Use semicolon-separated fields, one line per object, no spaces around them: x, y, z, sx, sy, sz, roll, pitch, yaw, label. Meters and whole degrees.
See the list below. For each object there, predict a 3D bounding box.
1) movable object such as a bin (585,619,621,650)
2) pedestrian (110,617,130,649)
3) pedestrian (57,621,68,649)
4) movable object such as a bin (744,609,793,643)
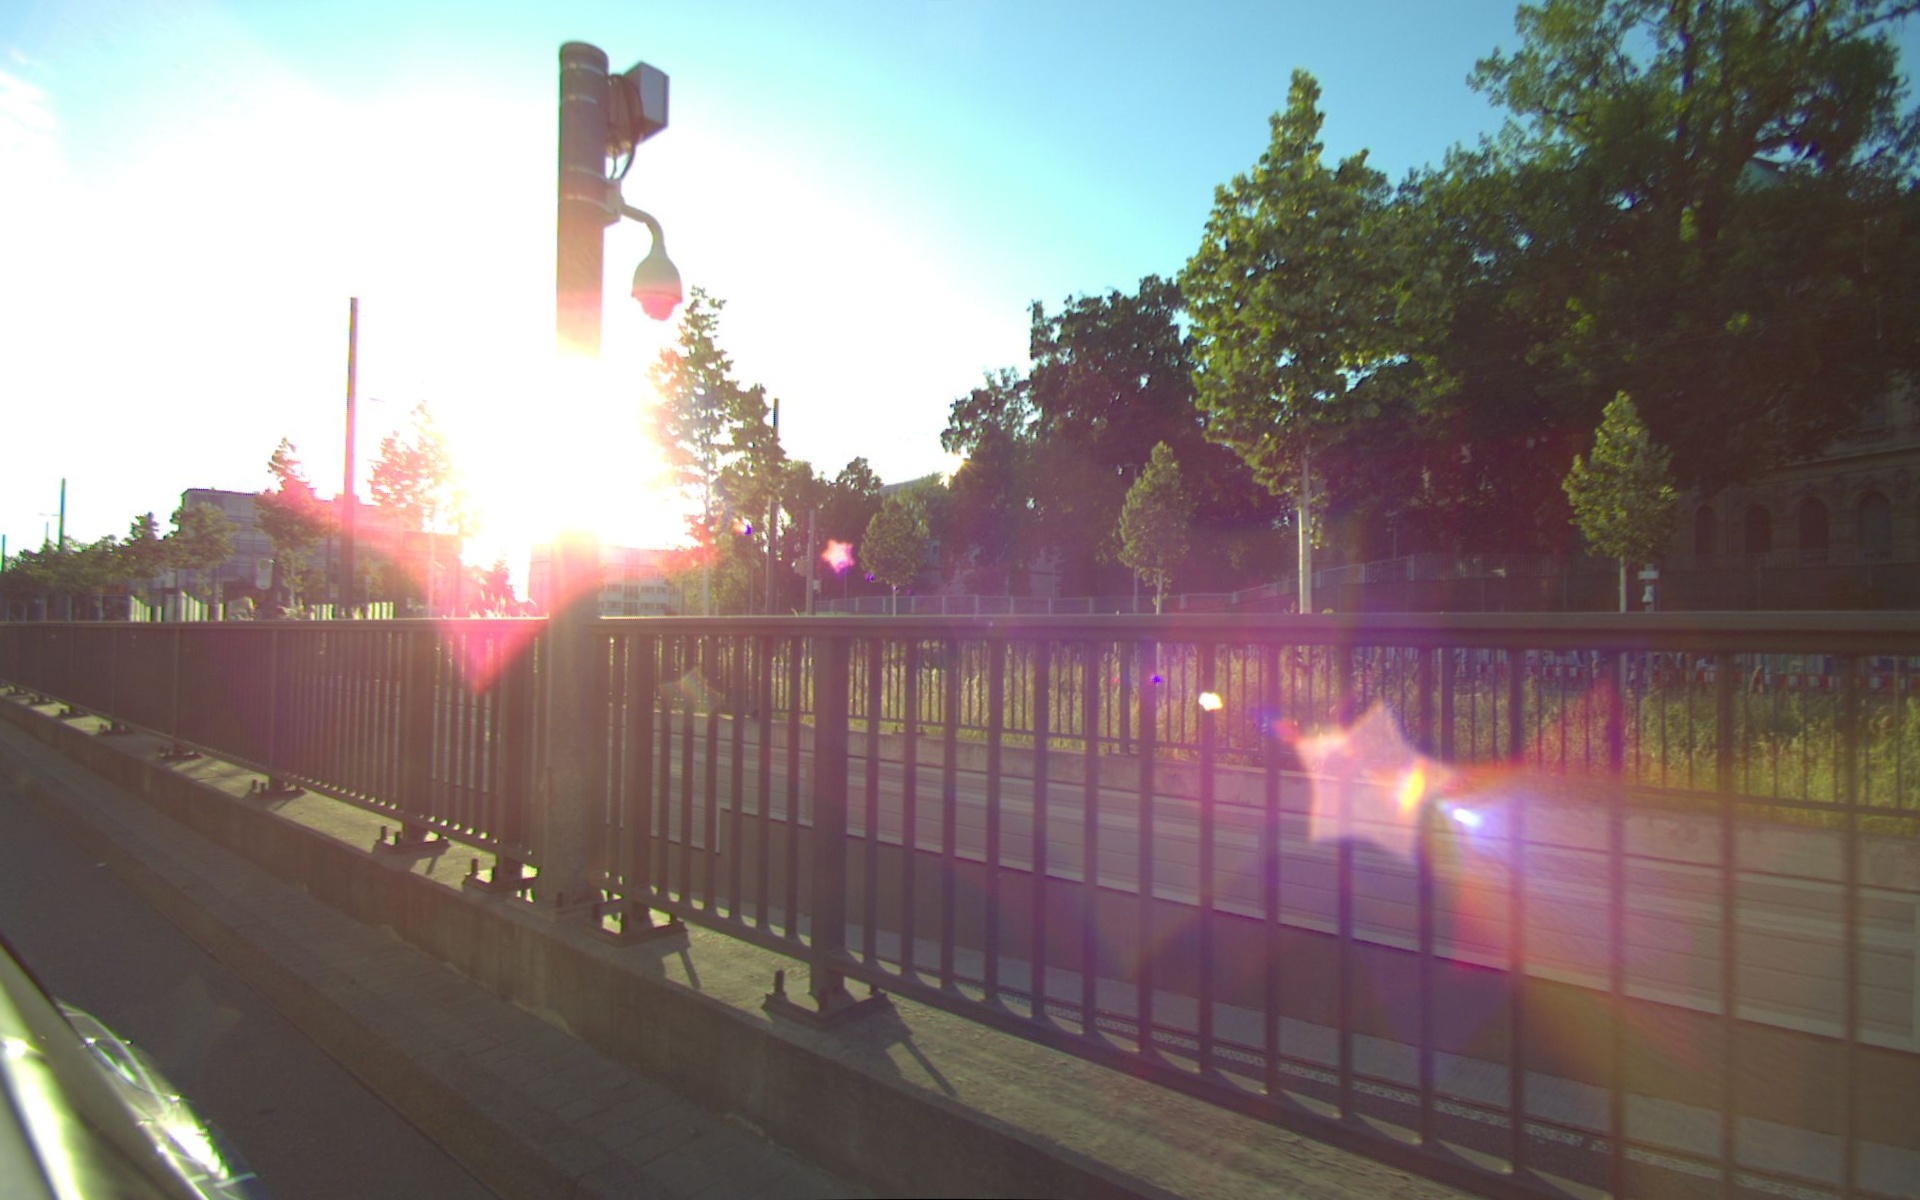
-32.482;3.105;92.021;1.967;2.727;4.010;2;-2;-35;movable object such as a bin
-45.942;1.782;55.333;0.633;1.742;0.630;-1;-3;29;pedestrian
-57.905;2.248;65.318;0.465;1.800;0.627;2;-3;-41;pedestrian
-15.757;2.134;83.106;4.001;2.727;1.971;-2;-3;44;movable object such as a bin
